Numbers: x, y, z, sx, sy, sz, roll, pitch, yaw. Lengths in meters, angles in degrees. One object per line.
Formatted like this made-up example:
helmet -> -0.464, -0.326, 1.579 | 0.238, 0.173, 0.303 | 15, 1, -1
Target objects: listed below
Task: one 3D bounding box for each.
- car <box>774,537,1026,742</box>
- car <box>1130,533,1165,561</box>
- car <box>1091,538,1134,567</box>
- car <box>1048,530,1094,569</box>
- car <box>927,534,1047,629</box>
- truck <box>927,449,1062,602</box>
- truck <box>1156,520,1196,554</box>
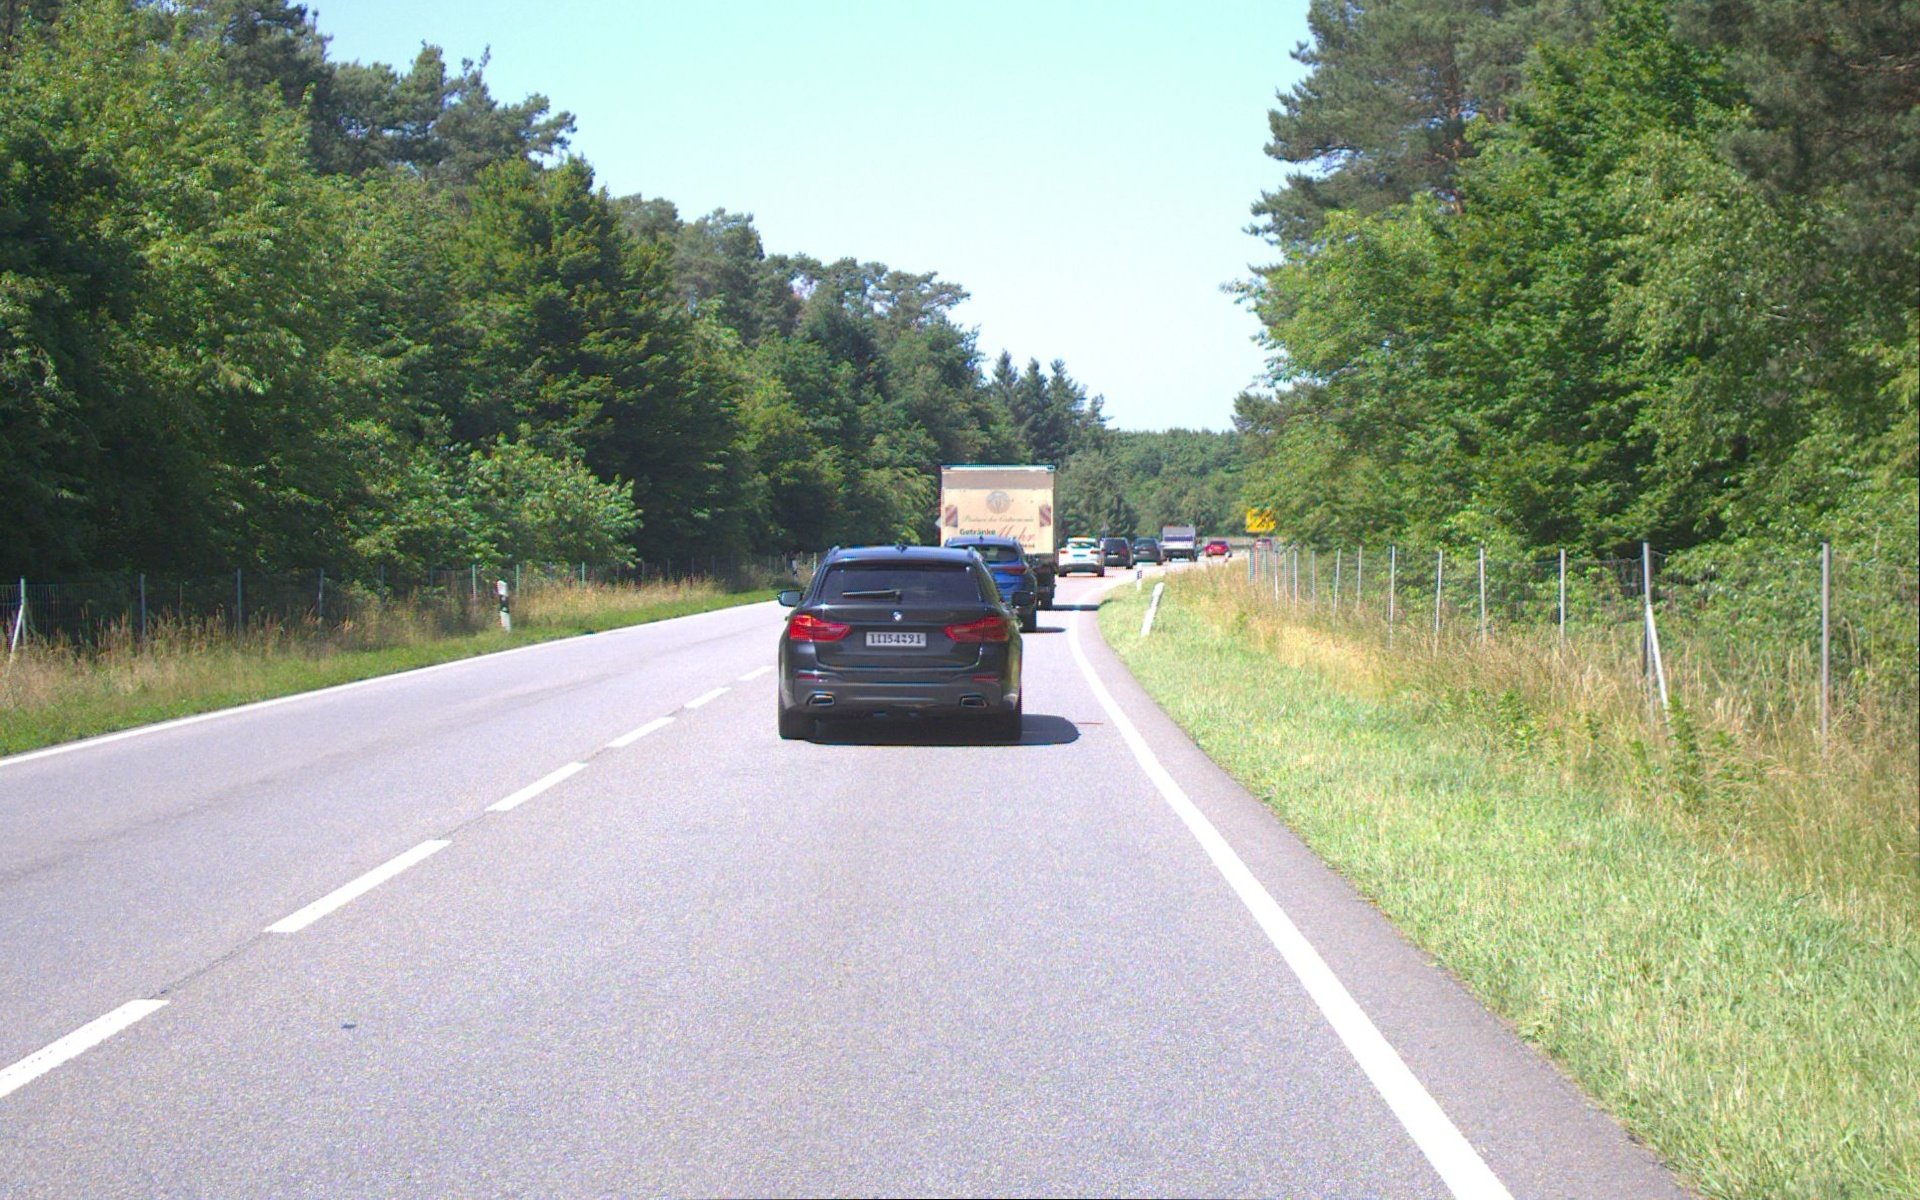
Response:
car -> -0.526, 0.252, 27.048 | 1.820, 1.465, 4.001 | -1, 1, -3
car -> 11.211, -3.186, 205.891 | 1.994, 1.631, 4.000 | -1, 1, 2
car -> 7.879, -2.466, 177.680 | 1.993, 1.415, 4.000 | 1, 1, -1
car -> 4.711, -2.131, 145.321 | 1.863, 1.600, 4.000 | -1, 1, 2
car -> 0.462, -0.341, 59.001 | 1.947, 1.536, 4.000 | -1, 1, 1
truck -> 0.833, -1.725, 79.515 | 2.966, 3.376, 6.438 | 0, 1, 1
truck -> 14.538, -4.269, 230.973 | 2.564, 2.194, 4.973 | -1, 2, 4
